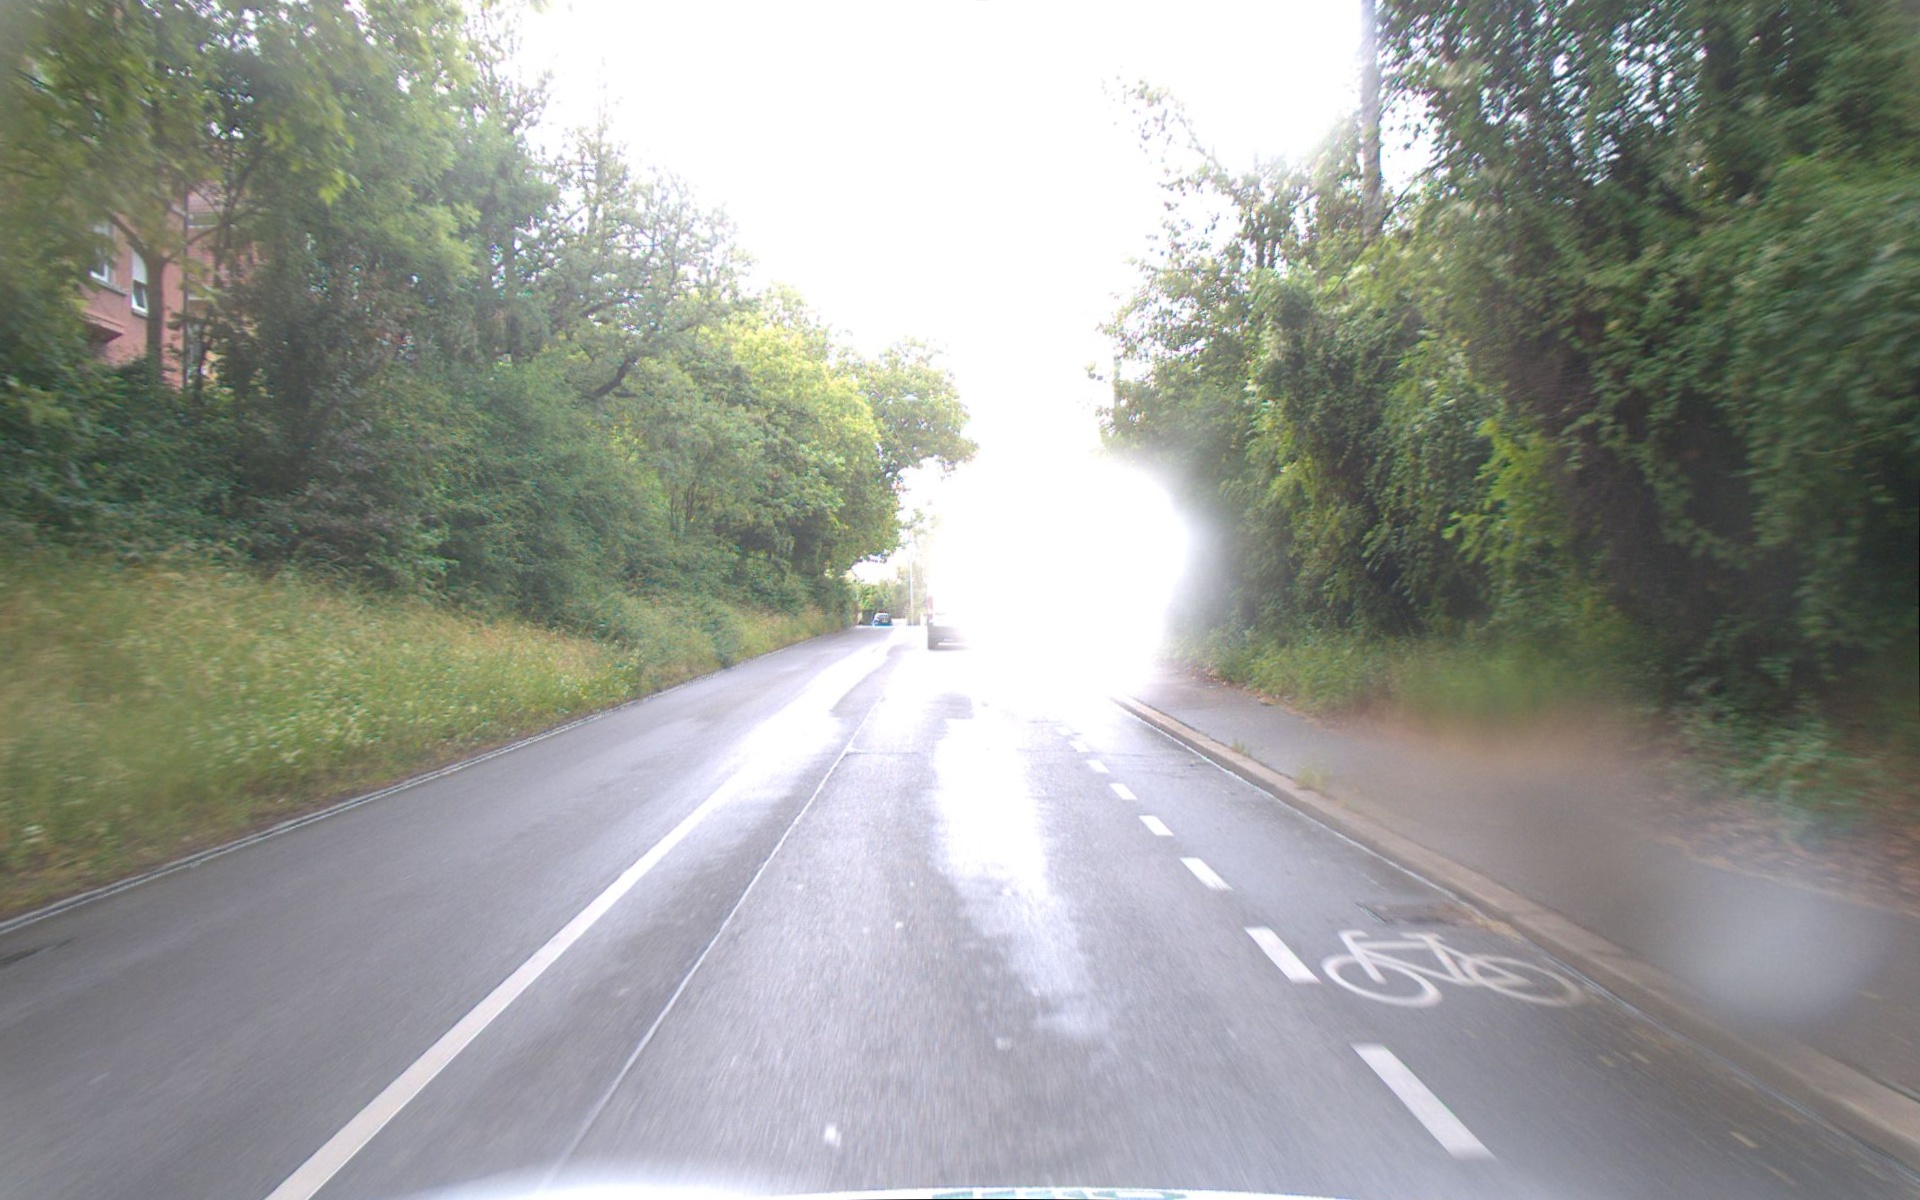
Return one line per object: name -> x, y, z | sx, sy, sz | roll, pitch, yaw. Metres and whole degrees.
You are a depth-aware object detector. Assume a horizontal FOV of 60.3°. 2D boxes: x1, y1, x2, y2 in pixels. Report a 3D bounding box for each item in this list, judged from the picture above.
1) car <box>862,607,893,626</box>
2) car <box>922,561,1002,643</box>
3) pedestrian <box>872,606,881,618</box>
car -> -7.713, 1.523, 155.181 | 2.074, 1.741, 4.697 | 1, 0, -13
car -> 0.030, 0.063, 48.409 | 2.192, 2.252, 4.712 | 1, 0, -1
pedestrian -> -9.698, 1.352, 192.070 | 0.863, 1.391, 1.062 | 1, 0, -12
